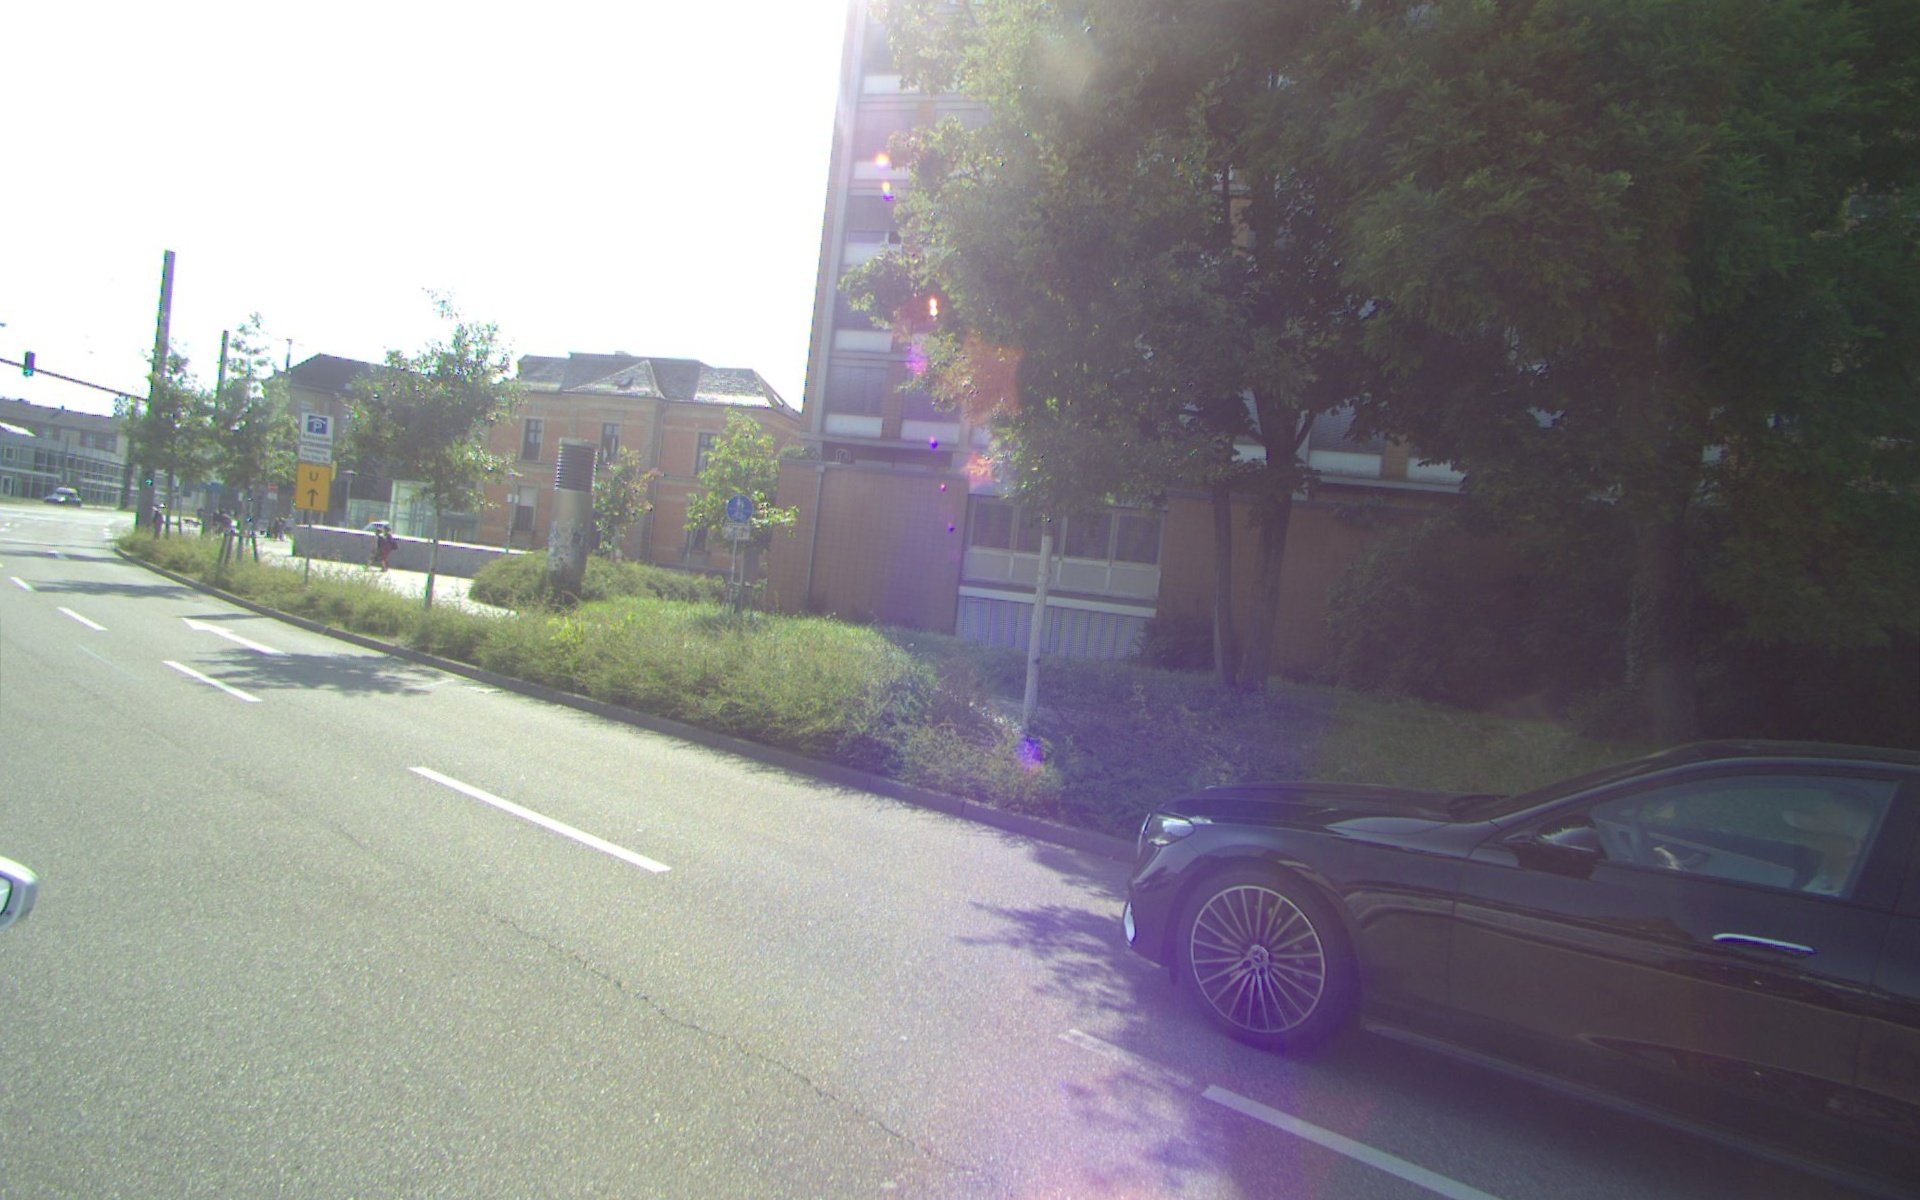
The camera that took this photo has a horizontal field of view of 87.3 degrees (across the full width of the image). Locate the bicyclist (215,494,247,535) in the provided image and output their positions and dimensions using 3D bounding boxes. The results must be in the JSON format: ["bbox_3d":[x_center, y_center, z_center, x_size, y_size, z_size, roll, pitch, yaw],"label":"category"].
[{"bbox_3d":[-30.784,-3.615,42.492,0.976,1.598,0.771,7,0,41],"label":"bicyclist"}]

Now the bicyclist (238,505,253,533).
[{"bbox_3d":[-50.196,-5.678,70.680,0.741,1.808,1.103,6,1,-34],"label":"bicyclist"}]

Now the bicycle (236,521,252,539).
[{"bbox_3d":[-50.294,-4.942,70.693,0.741,1.163,2.840,6,1,-34],"label":"bicycle"}]

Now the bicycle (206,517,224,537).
[{"bbox_3d":[-43.593,-4.280,58.896,0.701,1.074,1.964,6,1,-34],"label":"bicycle"}]

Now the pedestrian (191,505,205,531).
[{"bbox_3d":[-63.419,-6.845,83.718,0.741,2.039,0.799,6,1,-35],"label":"pedestrian"}]

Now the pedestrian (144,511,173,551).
[{"bbox_3d":[-30.364,-2.617,38.120,0.624,1.379,0.635,7,1,38],"label":"pedestrian"}]

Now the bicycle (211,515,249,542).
[{"bbox_3d":[-30.840,-3.029,42.496,2.120,0.988,0.771,6,0,41],"label":"bicycle"}]

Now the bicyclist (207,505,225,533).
[{"bbox_3d":[-43.534,-4.747,58.871,0.708,1.549,0.799,6,1,-35],"label":"bicyclist"}]

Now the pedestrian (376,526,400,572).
[{"bbox_3d":[-21.780,-1.941,38.304,0.609,1.649,0.530,6,1,-28],"label":"pedestrian"}]

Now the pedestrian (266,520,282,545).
[{"bbox_3d":[-45.062,-4.461,66.125,0.742,1.549,0.799,6,1,-35],"label":"pedestrian"}]

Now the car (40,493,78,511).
[{"bbox_3d":[-94.578,-10.225,105.630,1.977,1.460,3.970,7,0,-29],"label":"car"}]

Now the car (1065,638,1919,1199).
[{"bbox_3d":[2.968,1.189,3.642,4.800,1.457,1.820,7,-1,38],"label":"car"}]

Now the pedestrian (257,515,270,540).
[{"bbox_3d":[-59.109,-6.156,85.411,0.741,2.039,0.799,6,1,-35],"label":"pedestrian"}]

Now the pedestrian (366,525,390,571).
[{"bbox_3d":[-21.761,-1.937,37.609,0.609,1.659,0.530,6,1,-28],"label":"pedestrian"}]
